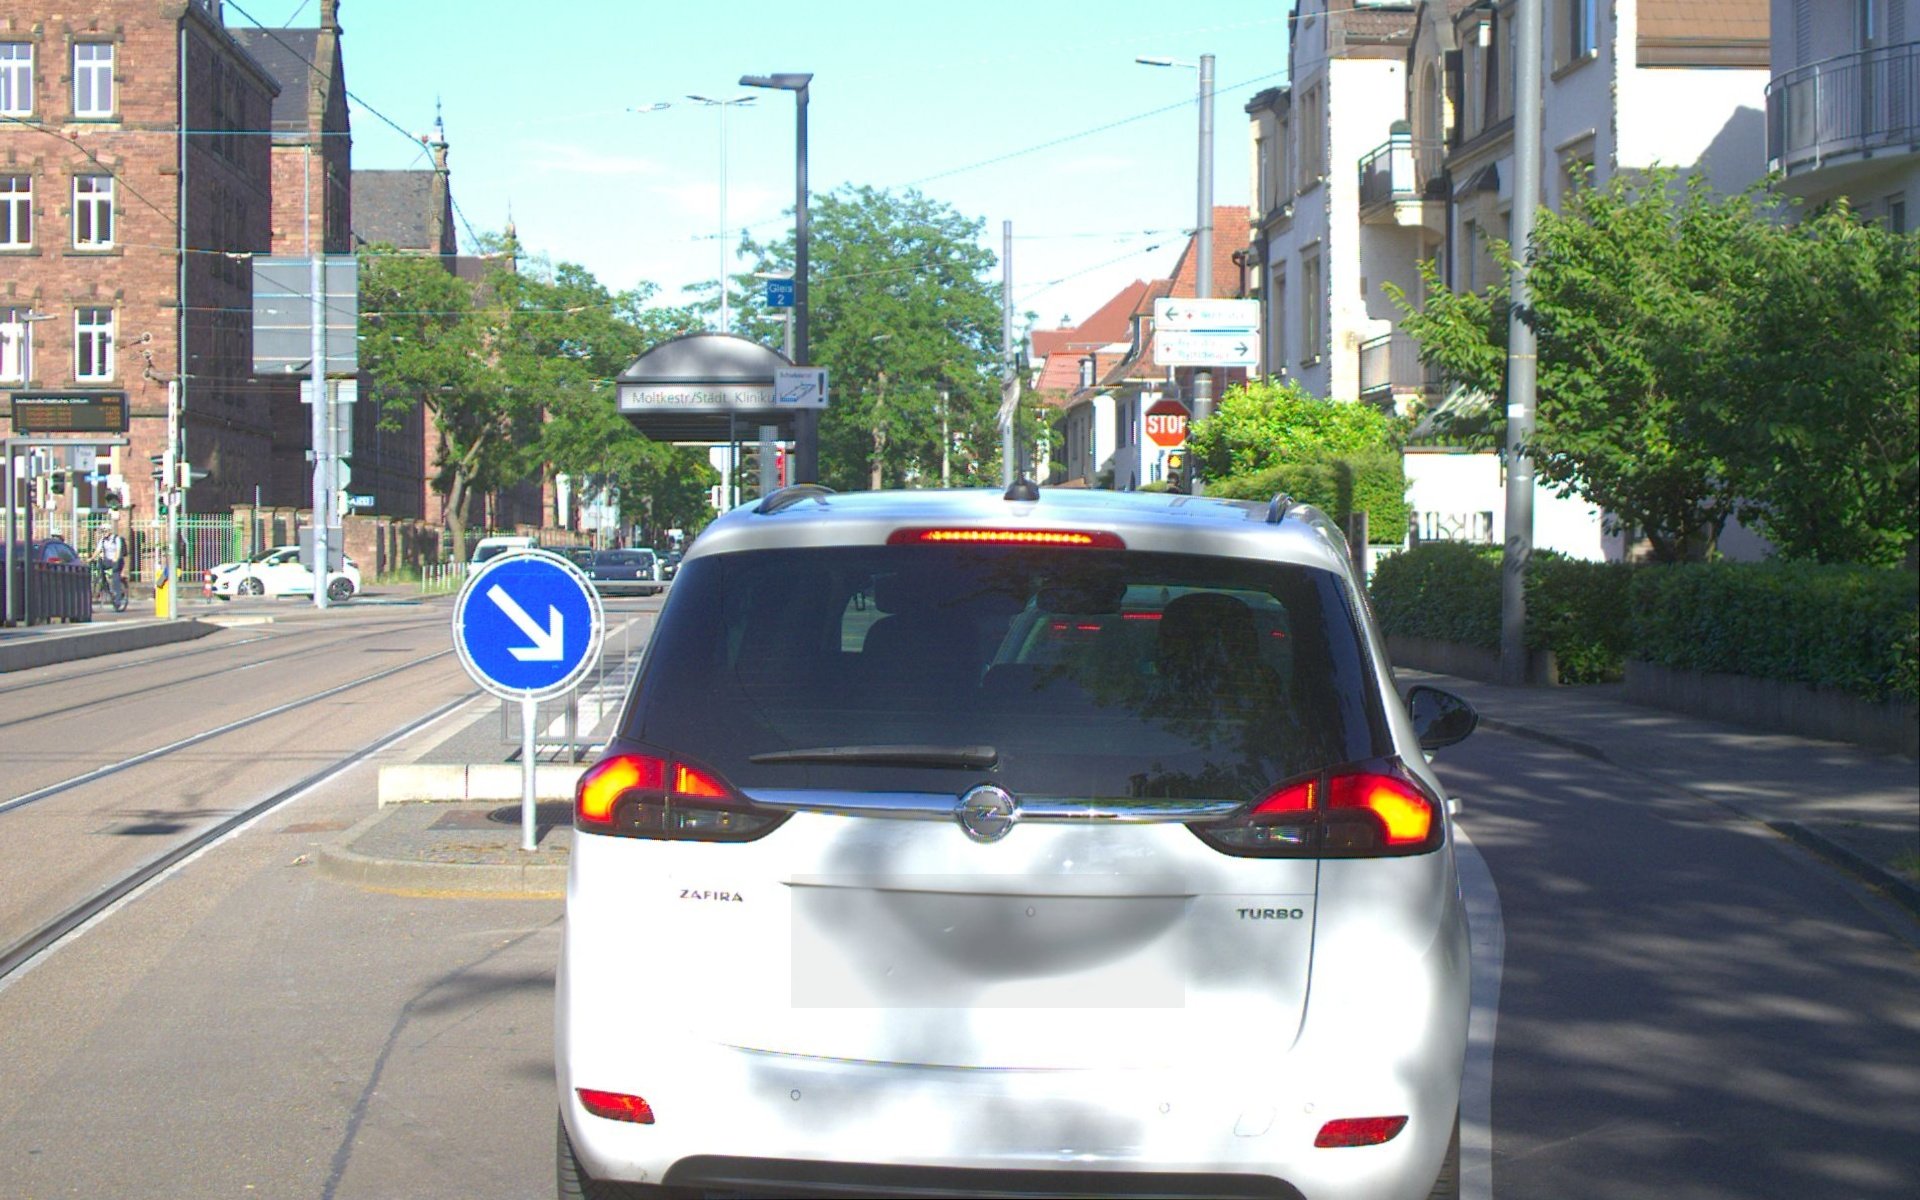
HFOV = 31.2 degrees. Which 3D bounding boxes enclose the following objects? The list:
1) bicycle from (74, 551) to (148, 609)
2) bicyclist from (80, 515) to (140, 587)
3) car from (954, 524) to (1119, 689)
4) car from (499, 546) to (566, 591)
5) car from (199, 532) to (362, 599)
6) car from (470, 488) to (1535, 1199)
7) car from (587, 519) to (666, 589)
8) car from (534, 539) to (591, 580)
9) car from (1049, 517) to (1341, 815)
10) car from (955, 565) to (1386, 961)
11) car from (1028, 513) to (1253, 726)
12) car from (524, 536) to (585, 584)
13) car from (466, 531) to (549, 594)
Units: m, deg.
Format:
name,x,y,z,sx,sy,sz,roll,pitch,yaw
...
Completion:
name,x,y,z,sx,sy,sz,roll,pitch,yaw
bicycle,-18.187,-0.443,73.710,0.777,1.226,2.088,0,1,10
bicyclist,-18.196,-1.047,73.614,0.761,1.531,1.347,0,1,10
car,0.780,0.023,37.323,1.596,1.629,3.902,2,1,-1
car,-13.664,-1.026,110.081,1.798,1.377,4.496,0,1,-3
car,-18.495,-0.947,93.613,3.987,1.803,1.704,0,1,-33
car,0.233,0.565,8.095,1.878,1.579,3.999,1,1,5
car,-9.736,-1.355,100.605,1.993,2.007,4.000,0,1,-1
car,-14.678,-1.481,126.971,1.827,1.441,4.328,1,0,-3
car,1.469,0.330,21.038,1.569,1.609,3.783,2,1,5
car,0.951,0.589,14.789,1.569,1.396,3.783,2,1,5
car,1.467,0.119,29.173,1.596,1.629,3.901,2,1,-1
car,-14.057,-1.381,119.284,1.827,1.611,4.328,1,0,-3
car,-13.187,-1.115,100.351,1.827,1.782,4.255,0,1,1
